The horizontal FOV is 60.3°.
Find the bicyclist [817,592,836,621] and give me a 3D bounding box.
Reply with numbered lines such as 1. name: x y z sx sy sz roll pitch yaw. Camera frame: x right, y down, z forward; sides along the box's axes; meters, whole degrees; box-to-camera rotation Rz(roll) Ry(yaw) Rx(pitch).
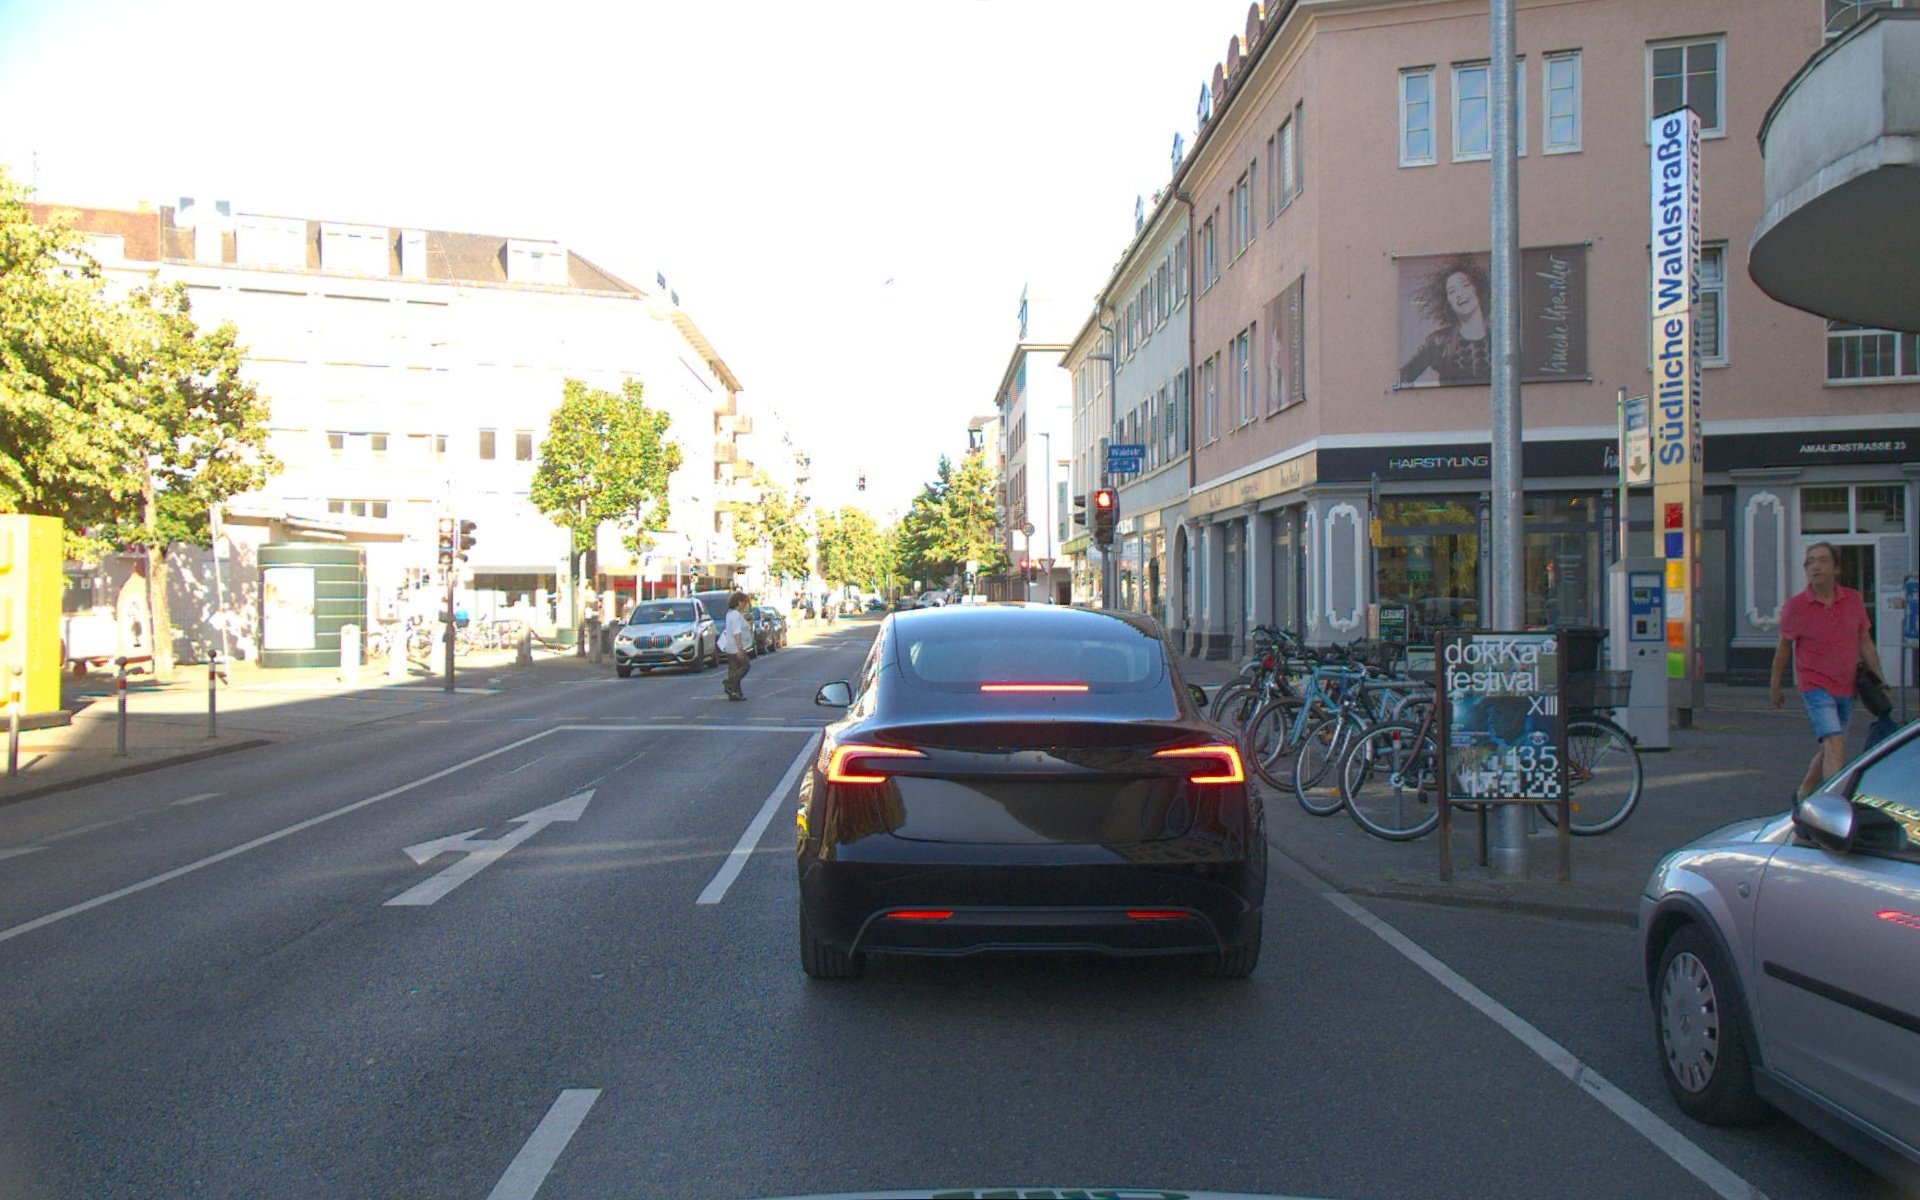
1. bicyclist: -7.712 0.368 95.482 1.104 1.657 0.964 0 0 -4

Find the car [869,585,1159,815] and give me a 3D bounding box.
1. car: 0.292 0.665 13.193 1.953 1.538 4.173 0 0 -2

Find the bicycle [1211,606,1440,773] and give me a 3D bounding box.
1. bicycle: 2.992 0.718 13.673 1.709 1.289 0.781 -2 0 2

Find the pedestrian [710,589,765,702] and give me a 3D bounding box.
1. pedestrian: -3.194 0.640 23.728 0.734 1.579 0.697 0 0 -12

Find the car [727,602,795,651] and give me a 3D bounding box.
1. car: -6.801 0.869 56.897 1.954 1.461 4.671 -4 0 -3

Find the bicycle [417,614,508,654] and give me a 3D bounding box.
1. bicycle: -14.887 1.013 49.552 2.485 1.176 0.841 0 0 -6

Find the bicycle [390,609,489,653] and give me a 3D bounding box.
1. bicycle: -14.100 0.840 44.875 2.412 1.176 0.842 0 0 -2

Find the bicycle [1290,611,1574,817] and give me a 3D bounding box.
1. bicycle: 3.143 0.746 11.145 1.686 1.290 0.791 -2 0 5

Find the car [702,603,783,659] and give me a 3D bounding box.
1. car: -6.419 0.882 49.311 1.954 1.434 4.671 -4 0 -3

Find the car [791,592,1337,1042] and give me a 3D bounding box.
1. car: 0.319 0.721 7.484 1.810 1.480 3.999 0 0 -1

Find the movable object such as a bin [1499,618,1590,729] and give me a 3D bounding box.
1. movable object such as a bin: 6.027 0.747 17.090 0.718 1.111 0.627 1 0 1

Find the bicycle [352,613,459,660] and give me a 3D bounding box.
1. bicycle: -14.187 0.921 42.341 2.455 1.176 0.842 0 0 -2

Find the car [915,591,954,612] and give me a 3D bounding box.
1. car: -2.570 0.152 167.503 3.907 2.049 1.999 0 0 -2

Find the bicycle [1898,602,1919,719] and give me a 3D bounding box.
1. bicycle: 10.264 0.632 17.002 0.645 1.220 2.212 0 0 18

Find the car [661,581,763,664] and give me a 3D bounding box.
1. car: -6.302 0.531 42.490 1.797 1.877 4.674 -4 0 0

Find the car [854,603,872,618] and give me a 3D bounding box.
1. car: -10.985 1.205 186.880 1.954 1.666 3.997 0 0 -4

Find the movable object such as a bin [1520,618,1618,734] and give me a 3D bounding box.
1. movable object such as a bin: 6.048 0.745 16.452 0.737 1.111 0.627 1 0 1

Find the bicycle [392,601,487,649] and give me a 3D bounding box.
1. bicycle: -14.708 0.695 46.798 2.429 1.347 0.921 0 0 -6

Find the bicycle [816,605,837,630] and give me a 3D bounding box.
1. bicycle: -7.696 0.995 95.388 1.089 1.368 3.997 0 0 -4

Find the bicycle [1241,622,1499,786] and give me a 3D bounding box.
1. bicycle: 3.061 0.768 12.495 1.760 1.144 0.782 -2 0 5

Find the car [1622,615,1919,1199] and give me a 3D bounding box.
1. car: 2.935 0.775 3.505 1.580 1.406 3.642 1 0 0

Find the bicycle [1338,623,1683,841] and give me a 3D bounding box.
1. bicycle: 3.290 0.781 10.015 1.846 1.214 0.692 -2 1 5

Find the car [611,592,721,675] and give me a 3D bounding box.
1. car: -6.380 0.686 36.278 1.771 1.582 4.307 -4 0 -3

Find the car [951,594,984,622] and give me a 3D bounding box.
1. car: 0.446 0.485 100.726 1.953 1.657 3.999 0 0 -1

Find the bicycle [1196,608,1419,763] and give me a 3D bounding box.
1. bicycle: 3.057 0.745 14.704 1.822 1.280 0.833 -2 0 5

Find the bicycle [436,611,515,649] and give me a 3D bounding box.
1. bicycle: -15.210 0.939 51.975 2.279 1.176 0.841 0 0 -6

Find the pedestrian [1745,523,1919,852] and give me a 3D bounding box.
1. pedestrian: 5.266 0.486 9.714 0.845 1.815 1.009 -2 0 7
